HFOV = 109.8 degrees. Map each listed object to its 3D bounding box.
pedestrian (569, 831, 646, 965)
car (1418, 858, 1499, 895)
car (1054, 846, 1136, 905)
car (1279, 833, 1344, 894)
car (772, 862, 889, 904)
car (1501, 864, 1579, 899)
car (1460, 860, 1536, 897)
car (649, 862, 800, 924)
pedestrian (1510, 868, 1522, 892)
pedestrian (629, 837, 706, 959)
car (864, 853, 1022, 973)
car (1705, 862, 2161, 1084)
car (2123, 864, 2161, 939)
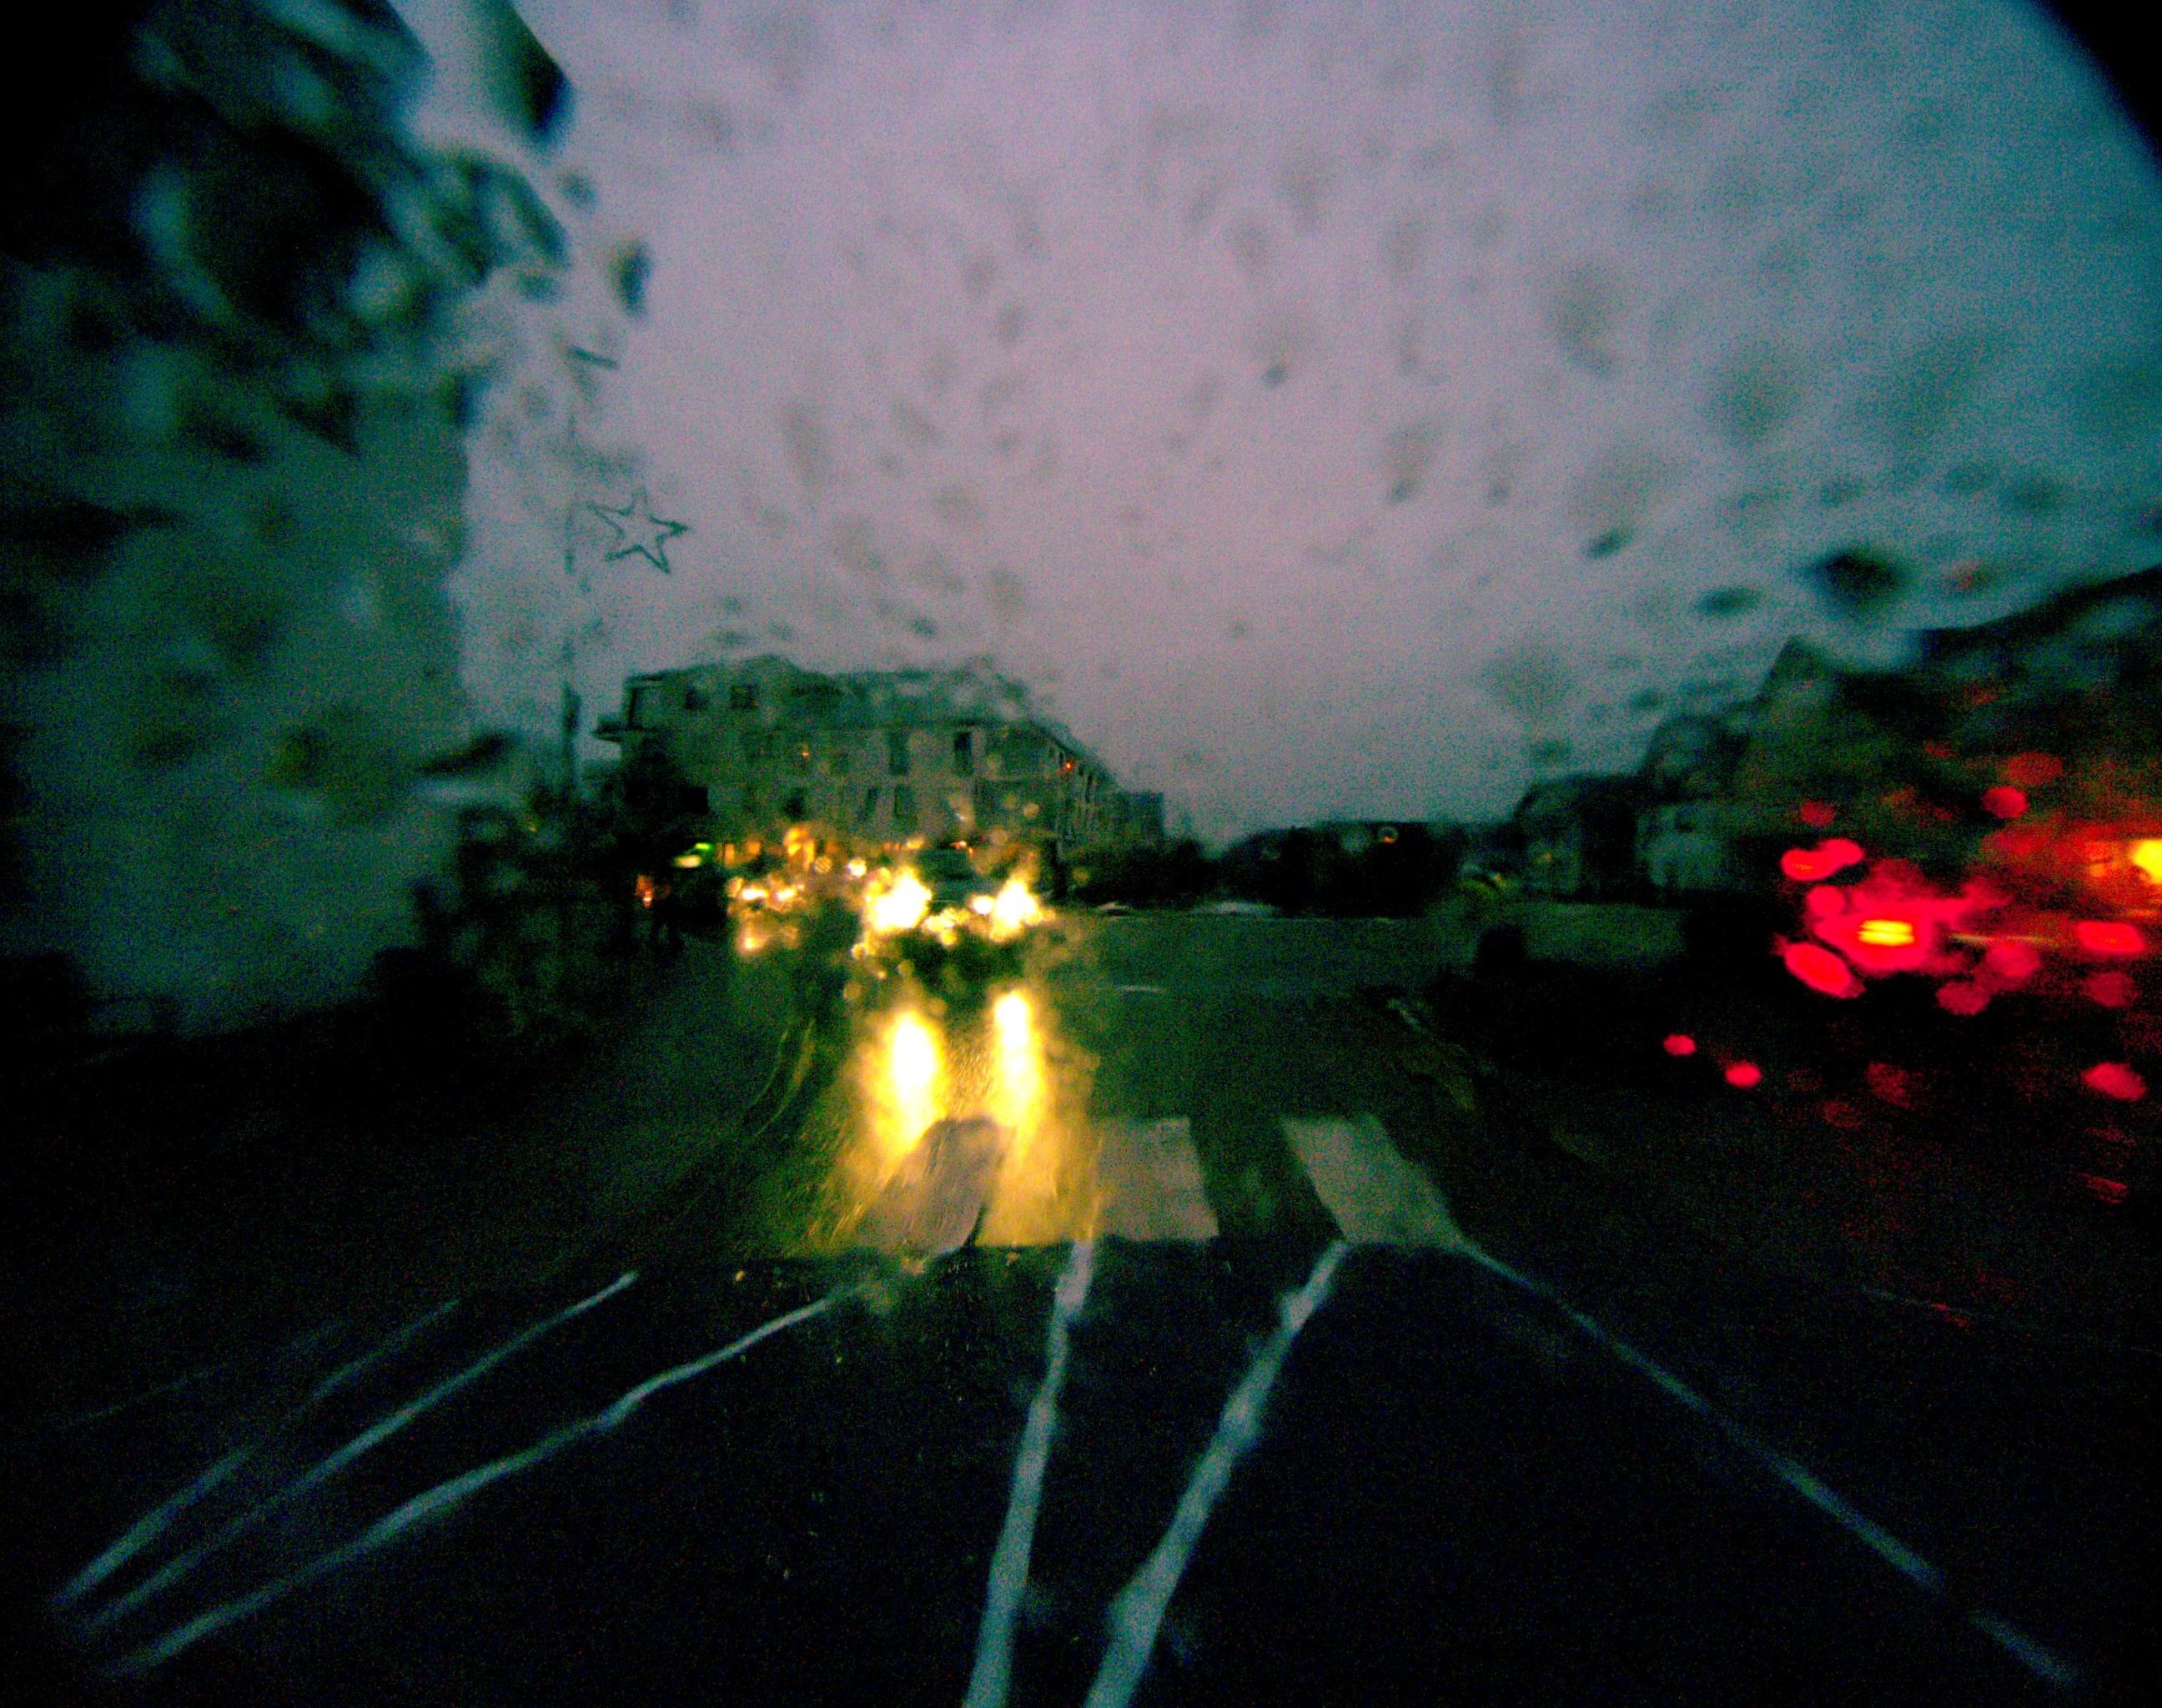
[{"bbox_3d":[-6.894,0.600,11.068,0.789,1.856,0.711,1,3,45],"label":"pedestrian"},{"bbox_3d":[22.563,1.305,45.519,1.974,1.984,3.991,-2,2,-25],"label":"car"},{"bbox_3d":[0.420,0.560,22.232,2.172,1.469,3.999,-1,2,1],"label":"car"},{"bbox_3d":[8.381,0.275,27.446,2.055,1.976,4.542,-1,2,19],"label":"car"},{"bbox_3d":[-9.834,1.109,30.136,4.277,1.436,1.559,-2,2,-15],"label":"car"},{"bbox_3d":[27.870,1.648,46.298,1.936,1.871,3.867,-2,2,-12],"label":"car"},{"bbox_3d":[25.193,1.448,46.048,1.926,2.002,3.967,-2,2,-12],"label":"car"},{"bbox_3d":[-9.774,1.010,20.773,4.009,1.471,1.767,-1,1,32],"label":"car"},{"bbox_3d":[30.647,1.824,53.500,0.582,1.602,0.500,-1,2,6],"label":"pedestrian"},{"bbox_3d":[-6.278,0.638,11.541,0.789,1.752,0.770,1,3,45],"label":"pedestrian"},{"bbox_3d":[-2.407,0.795,12.345,1.961,1.576,4.103,-1,0,-18],"label":"car"},{"bbox_3d":[7.668,0.850,7.361,1.703,1.494,3.906,-1,0,27],"label":"car"},{"bbox_3d":[25.920,1.045,15.953,4.362,1.596,1.892,-1,2,30],"label":"car"}]
